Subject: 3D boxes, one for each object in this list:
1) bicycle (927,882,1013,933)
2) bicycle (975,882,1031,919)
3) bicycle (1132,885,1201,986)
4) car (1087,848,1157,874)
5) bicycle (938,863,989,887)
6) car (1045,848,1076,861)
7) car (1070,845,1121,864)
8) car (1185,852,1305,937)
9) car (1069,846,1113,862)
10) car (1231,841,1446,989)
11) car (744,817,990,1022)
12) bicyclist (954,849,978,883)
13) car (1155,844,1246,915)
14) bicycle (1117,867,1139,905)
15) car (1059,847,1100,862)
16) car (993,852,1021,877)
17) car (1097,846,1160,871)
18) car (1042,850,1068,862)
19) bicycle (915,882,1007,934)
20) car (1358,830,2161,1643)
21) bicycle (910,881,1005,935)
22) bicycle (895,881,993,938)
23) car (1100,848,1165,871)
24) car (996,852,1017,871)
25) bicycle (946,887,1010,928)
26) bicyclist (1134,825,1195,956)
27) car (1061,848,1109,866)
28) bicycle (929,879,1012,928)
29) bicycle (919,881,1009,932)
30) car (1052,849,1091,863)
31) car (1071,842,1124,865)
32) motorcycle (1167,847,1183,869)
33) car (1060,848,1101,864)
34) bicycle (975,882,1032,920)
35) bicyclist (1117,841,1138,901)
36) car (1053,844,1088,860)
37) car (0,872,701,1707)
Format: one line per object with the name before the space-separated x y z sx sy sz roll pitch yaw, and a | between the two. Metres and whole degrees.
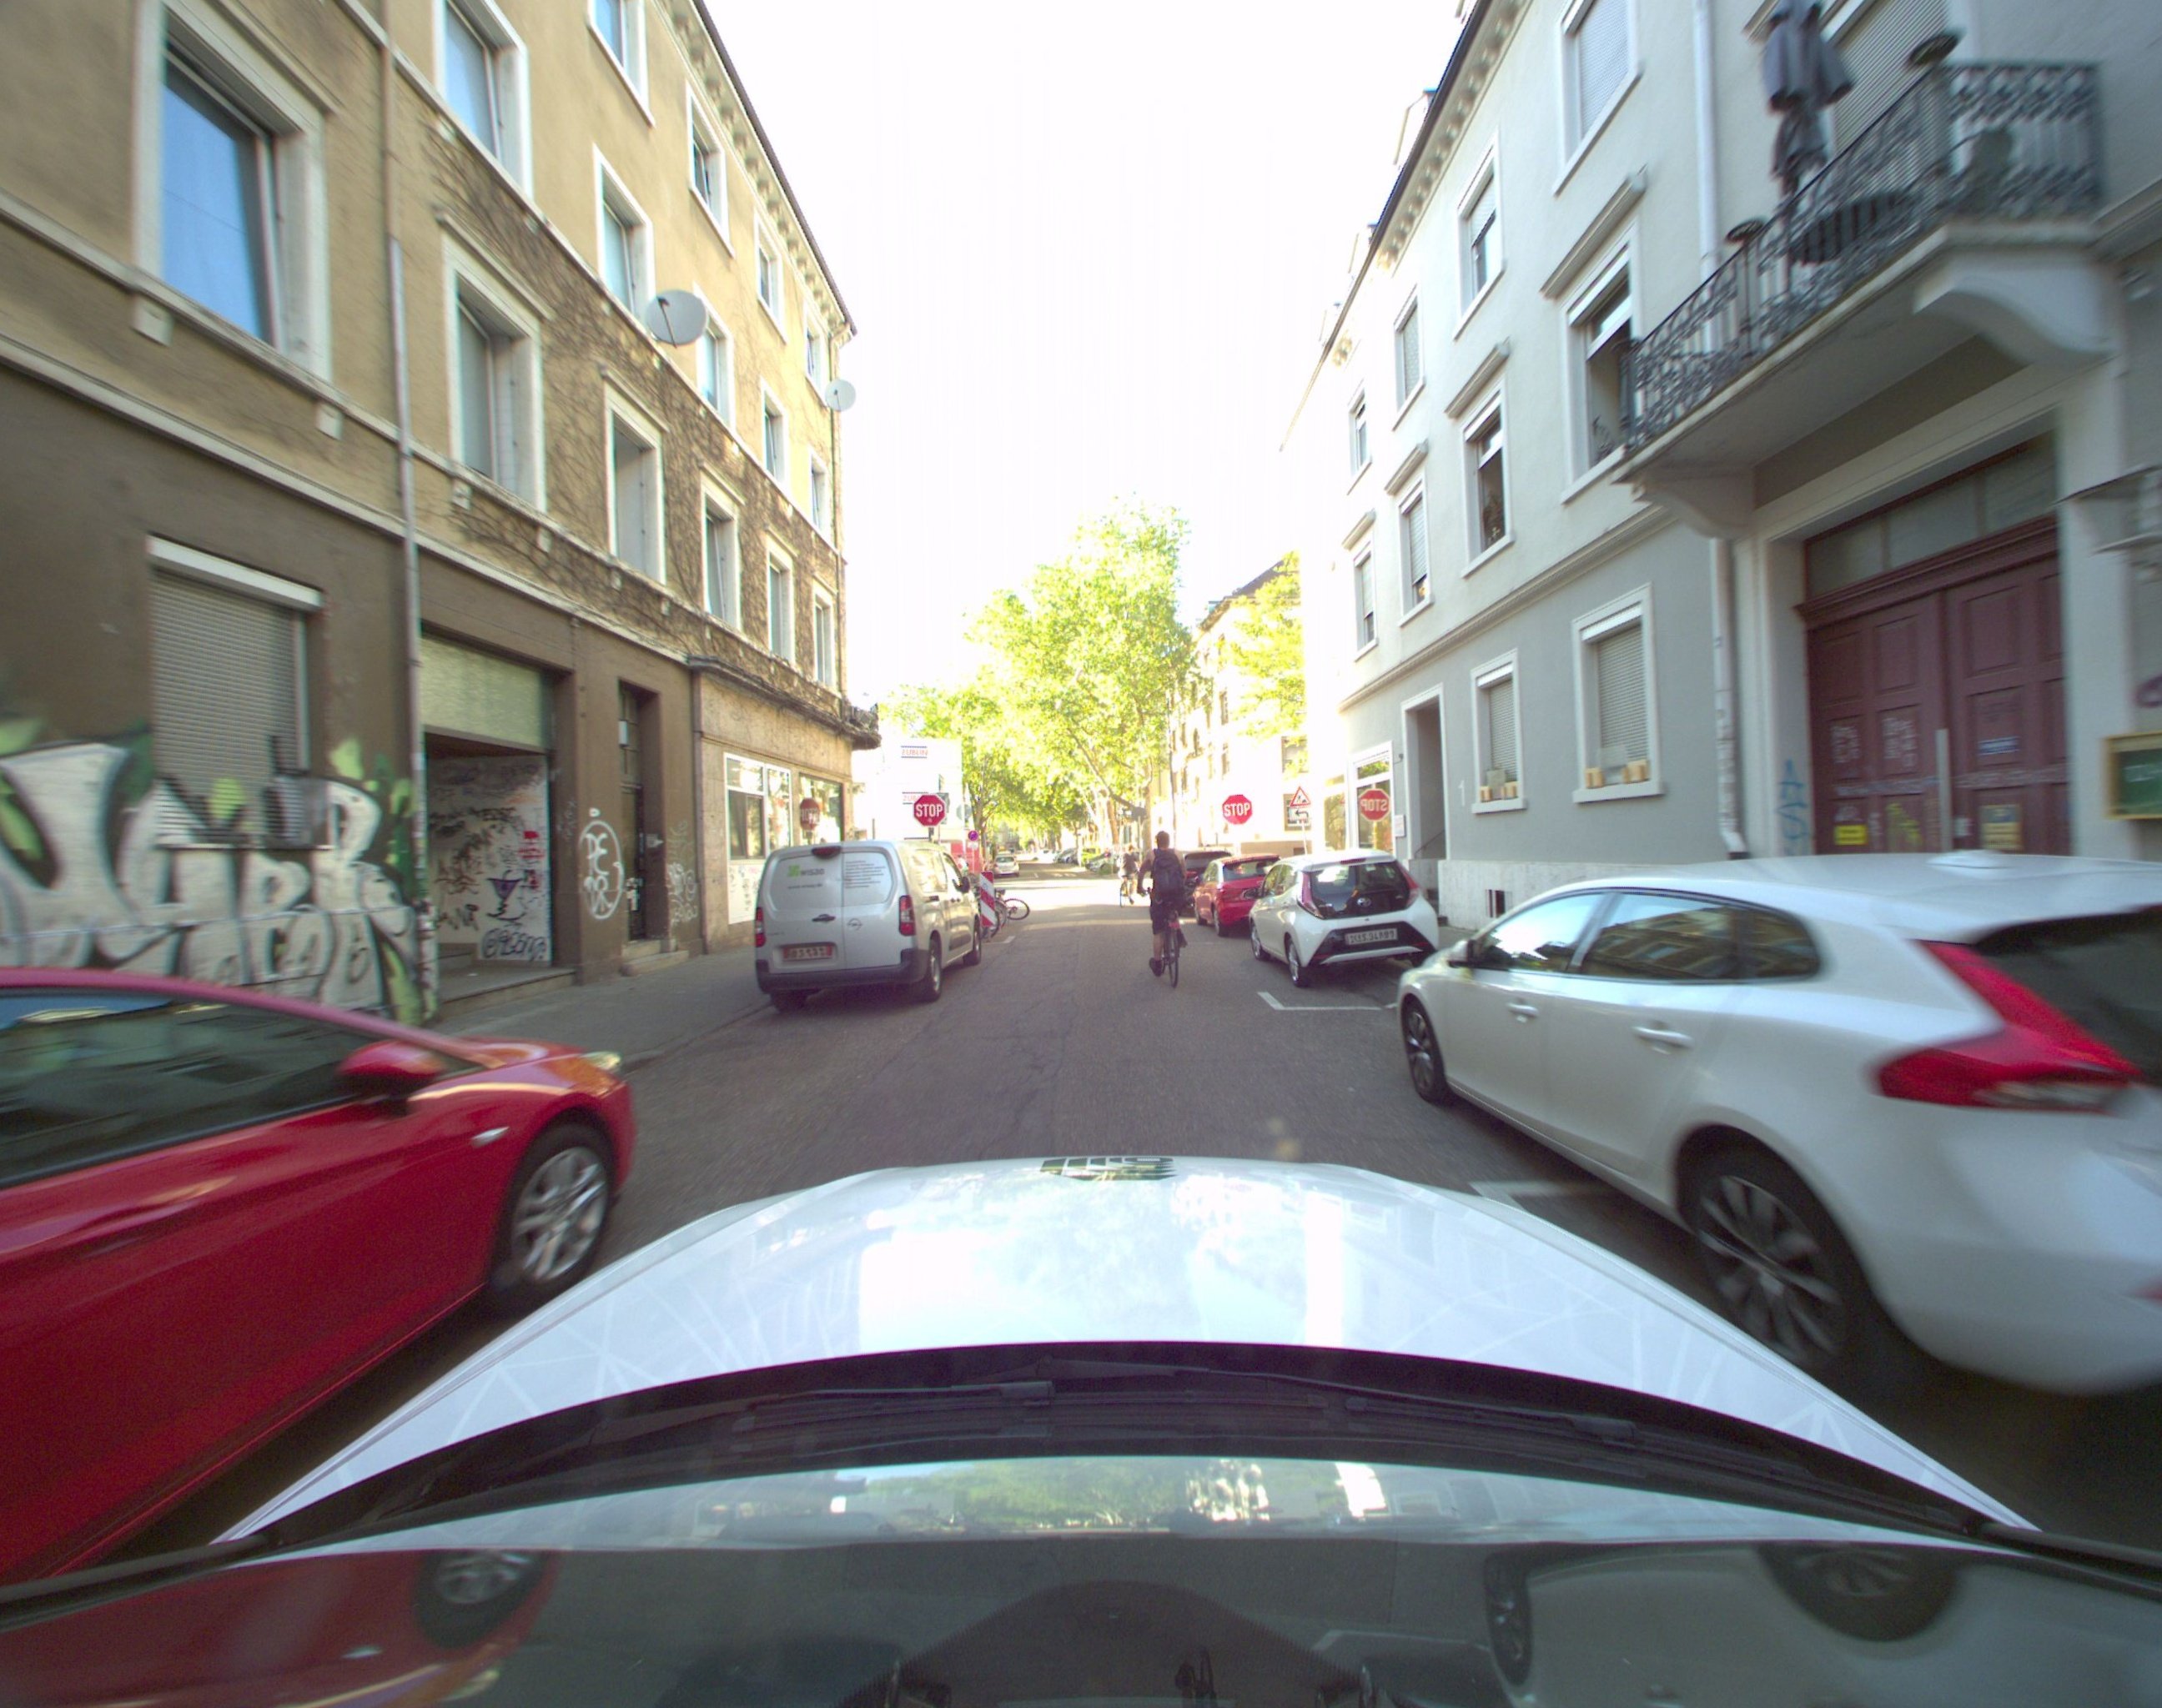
bicycle | -2.377 1.135 17.446 1.765 0.961 0.479 -2 0 -11
bicycle | -1.868 1.109 19.525 1.308 0.818 0.370 -2 0 -9
bicycle | 0.993 0.926 9.822 0.687 1.016 1.908 0 0 2
car | 2.702 0.479 54.612 4.457 1.571 1.724 -2 0 -7
bicycle | -5.792 1.038 40.187 2.419 1.093 0.894 -2 -1 -6
car | -3.068 0.050 123.243 4.457 1.898 1.724 -2 0 -7
car | 1.345 0.063 74.530 4.457 1.571 1.724 -2 0 -7
car | 3.169 0.721 16.462 1.640 1.503 3.954 0 0 0
car | 1.061 0.020 87.889 4.457 1.571 1.724 -2 0 -7
car | 3.133 0.651 10.700 1.631 1.587 3.788 0 0 0
car | -2.387 0.647 10.385 1.673 1.910 4.521 -5 0 2
bicyclist | -5.669 0.586 40.210 1.095 1.640 0.894 -2 -1 -5
car | 3.029 0.590 21.385 1.754 1.662 4.196 0 0 0
bicycle | 1.345 0.910 23.537 0.550 1.016 1.628 -1 -1 1
car | -0.188 0.077 93.456 4.457 1.571 1.724 -2 0 -7
car | -4.971 0.656 54.305 1.642 1.494 3.990 -4 1 -7
car | 3.561 0.321 61.641 4.457 1.671 1.724 -2 0 -7
car | -4.587 0.311 142.545 4.457 1.898 1.724 -2 0 -7
bicycle | -2.403 1.081 16.433 1.759 0.961 0.422 -2 0 -1
car | 2.756 0.700 3.616 1.673 1.510 4.190 0 0 1
bicycle | -2.417 1.052 16.016 1.759 0.961 0.405 -2 0 -1
bicycle | -2.601 1.053 15.550 1.759 0.989 0.463 -2 0 0
car | 3.762 0.388 59.567 4.457 1.571 1.724 -2 0 -7
car | -6.501 0.606 70.631 1.664 1.562 3.990 -2 0 -7
bicycle | -2.371 1.218 18.712 1.386 0.818 0.360 -4 0 -9
bicyclist | 0.985 0.422 9.779 0.674 1.513 0.669 0 0 1
car | 0.369 0.264 78.381 4.457 1.571 1.724 -2 0 -7
bicycle | -2.411 1.080 17.879 1.763 0.961 0.427 -2 0 -7
bicycle | -2.402 1.087 16.835 1.759 0.961 0.443 -2 0 -1
car | -1.163 0.253 98.138 4.457 1.571 1.724 -2 0 -7
car | 1.433 -0.055 72.516 4.458 1.836 1.724 -2 0 -8
motorcycle | 5.857 0.261 50.775 0.513 1.332 1.759 -2 0 -7
car | -0.088 0.214 90.982 4.457 1.571 1.724 -2 0 -7
bicycle | -1.824 1.096 19.154 1.308 0.818 0.354 -2 0 -9
bicyclist | 1.337 0.480 23.533 0.540 1.687 0.653 -1 -1 0
car | -1.414 -0.295 107.787 4.457 1.898 1.724 -2 0 -7
car | -2.735 0.882 1.832 1.674 1.473 4.203 -4 0 0
